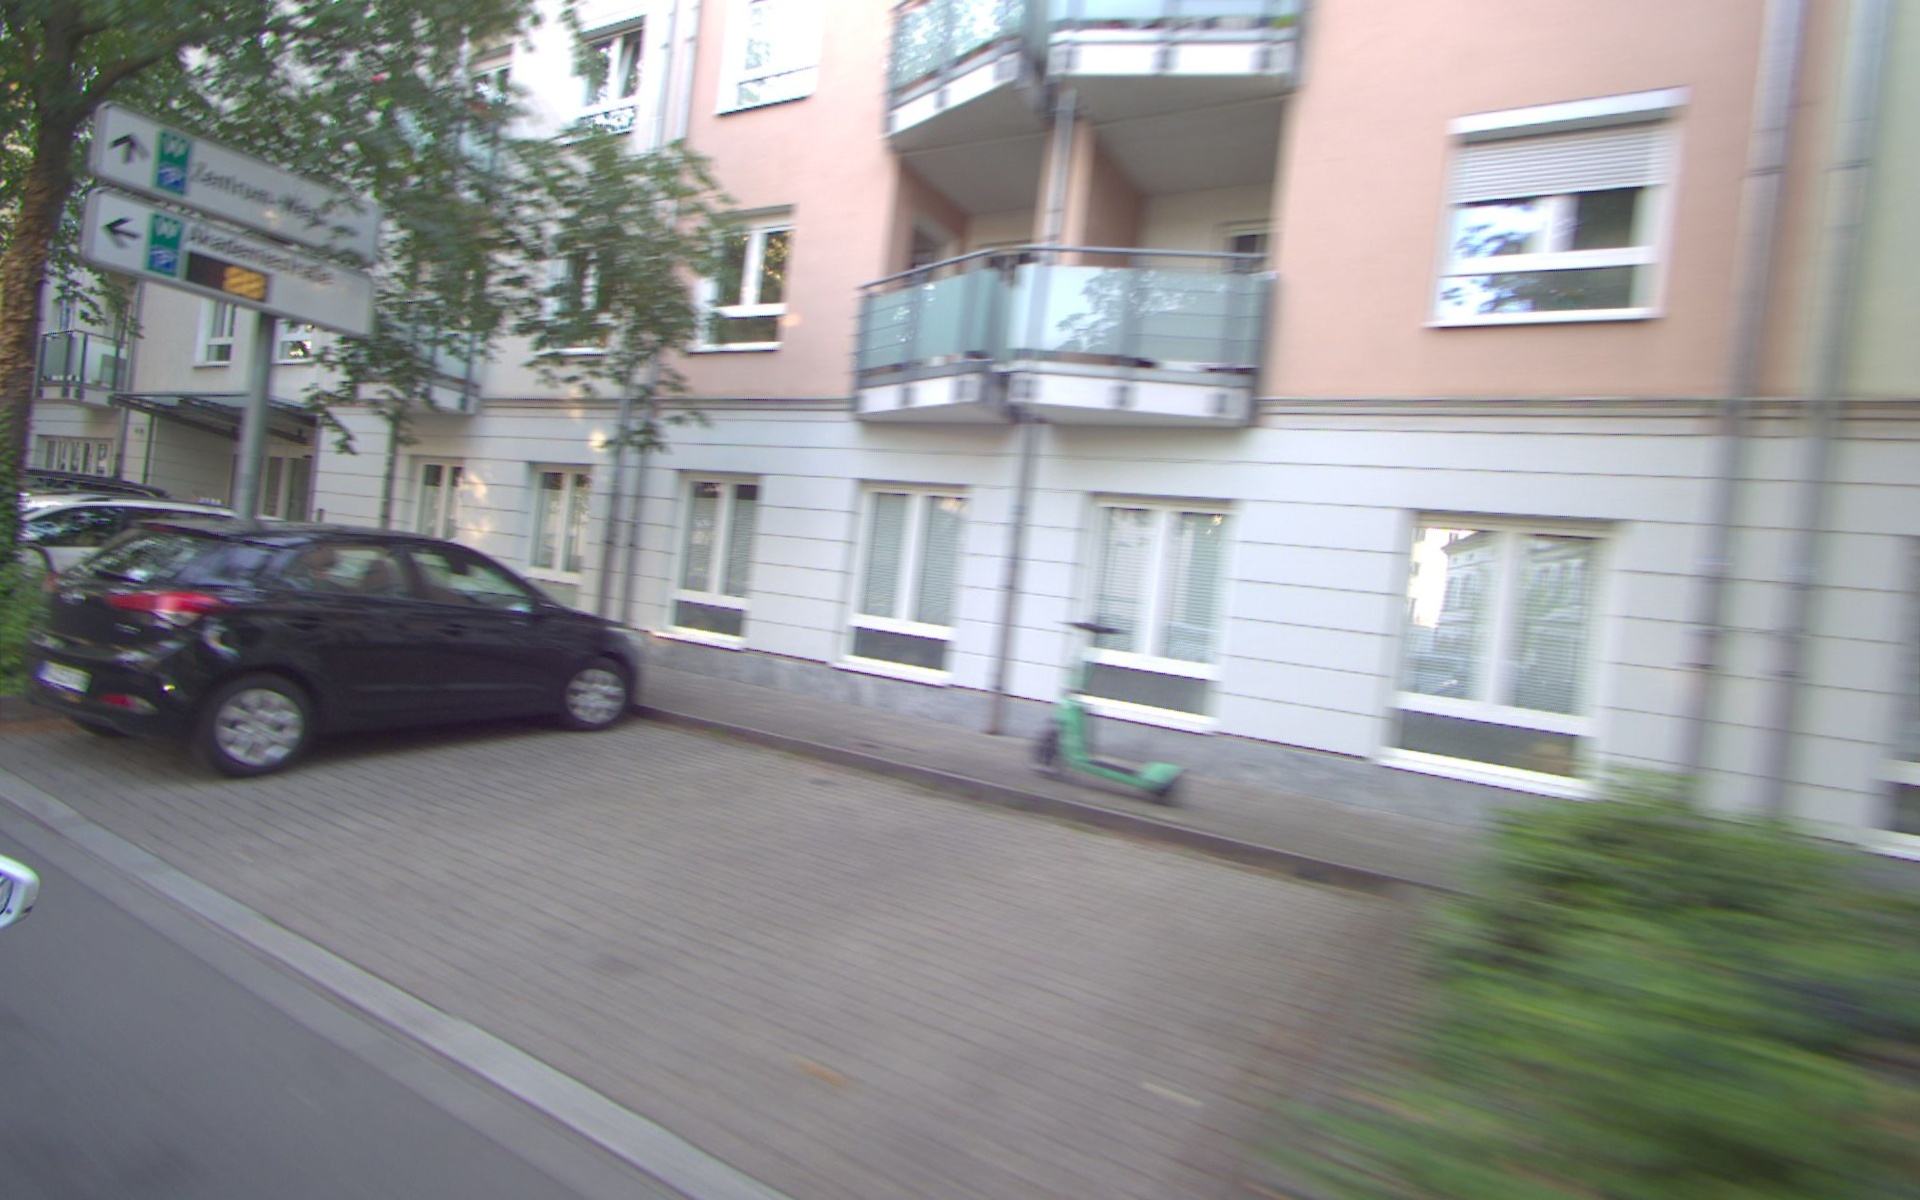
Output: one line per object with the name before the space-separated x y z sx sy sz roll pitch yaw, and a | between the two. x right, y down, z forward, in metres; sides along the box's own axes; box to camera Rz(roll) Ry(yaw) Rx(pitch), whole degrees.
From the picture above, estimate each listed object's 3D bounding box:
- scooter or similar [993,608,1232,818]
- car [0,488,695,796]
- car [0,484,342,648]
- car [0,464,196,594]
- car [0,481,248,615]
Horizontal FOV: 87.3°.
scooter or similar | 1.076 0.743 7.161 1.430 1.219 0.655 7 3 29
car | -4.095 0.191 7.333 1.900 1.471 4.088 7 2 26
car | -9.192 -0.372 10.247 1.766 1.488 4.601 7 2 30
car | -13.279 -1.035 13.288 1.975 1.639 4.646 7 3 27
car | -11.280 -0.656 11.927 1.898 1.458 4.221 7 3 33
